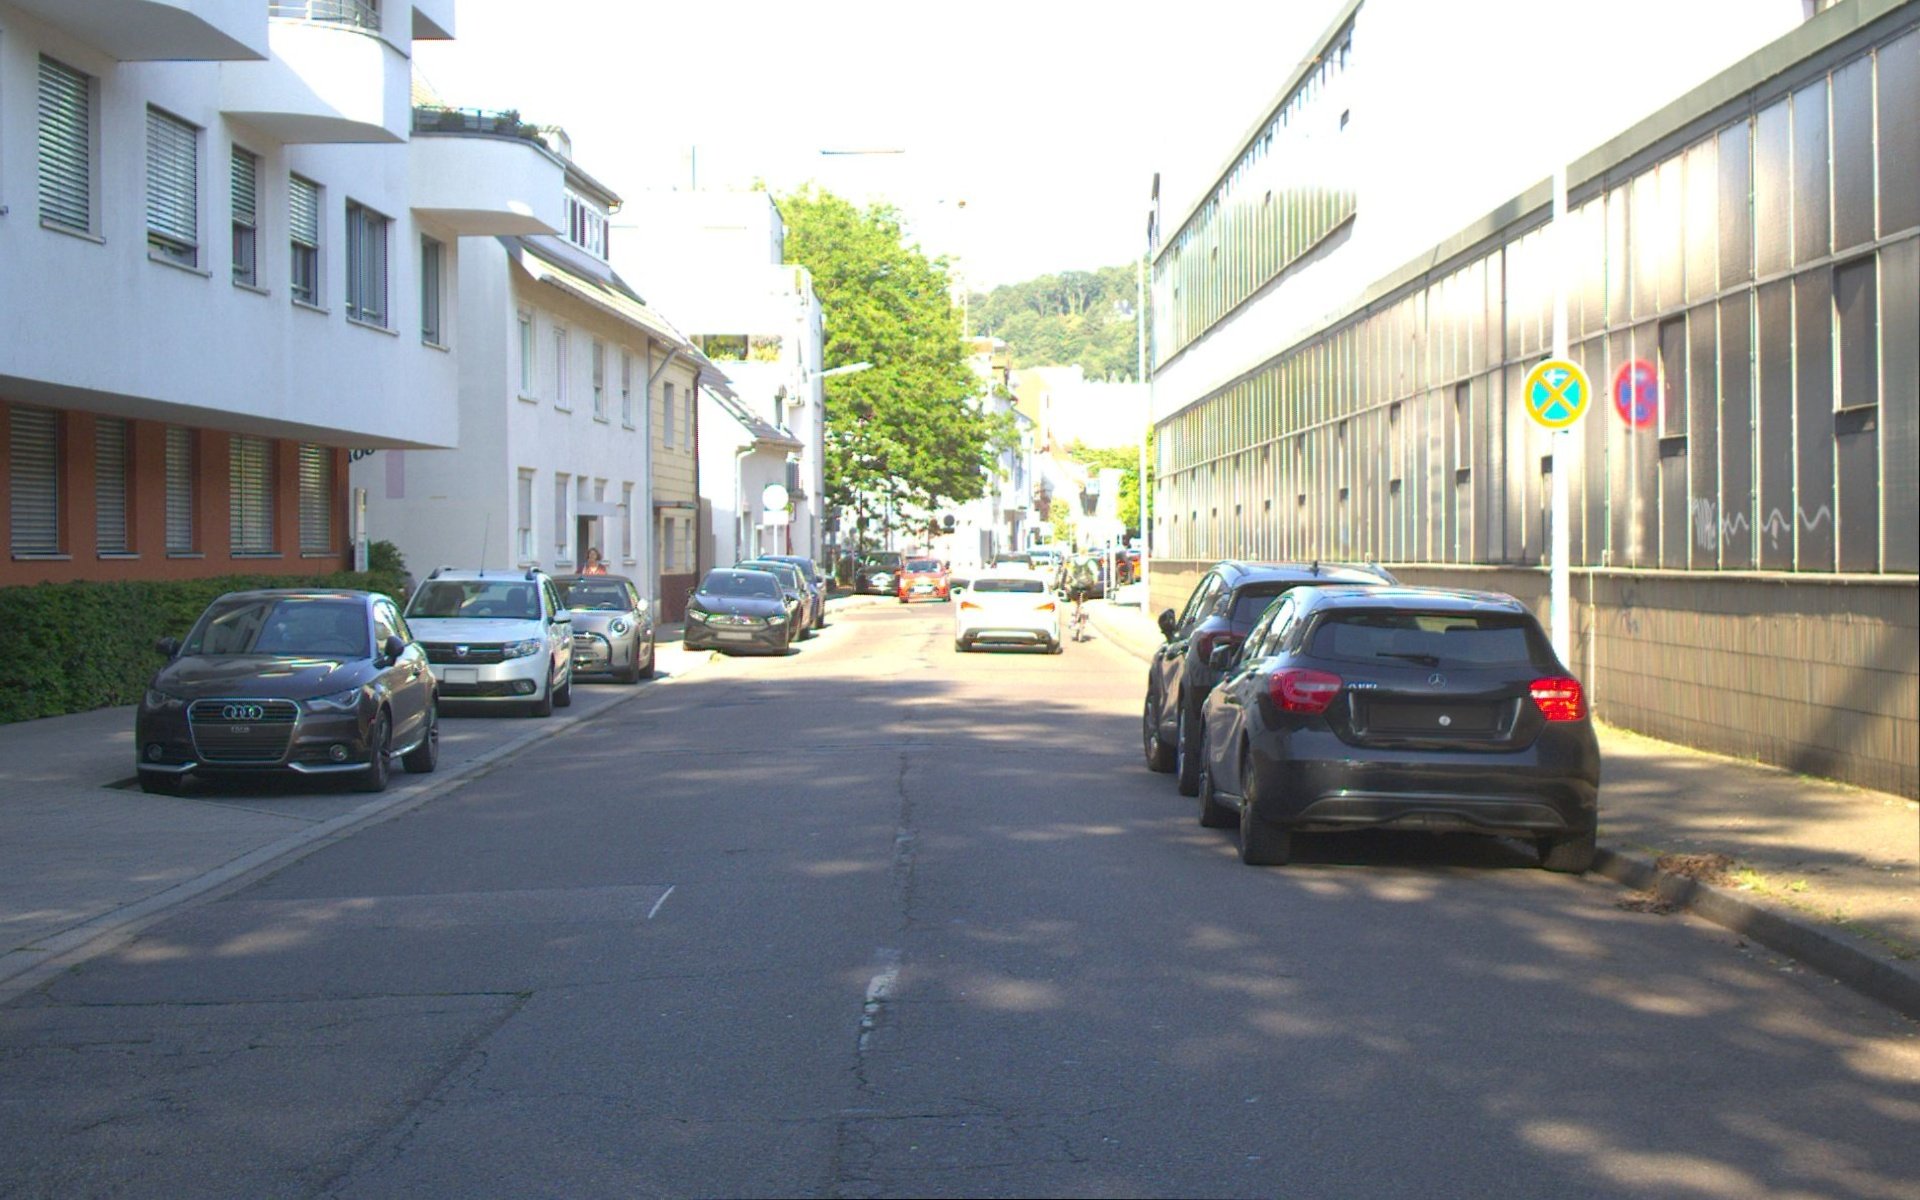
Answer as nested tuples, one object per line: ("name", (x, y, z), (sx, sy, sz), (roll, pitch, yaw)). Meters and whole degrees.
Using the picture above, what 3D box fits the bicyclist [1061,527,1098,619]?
("bicyclist", (2.350, -0.534, 67.610), (0.698, 1.784, 1.040), (1, 0, 2))

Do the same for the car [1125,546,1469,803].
("car", (2.274, 0.469, 24.311), (1.807, 1.581, 4.405), (2, 0, -2))

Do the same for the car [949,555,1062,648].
("car", (0.742, 0.015, 59.005), (1.842, 1.486, 4.144), (1, 0, 0))

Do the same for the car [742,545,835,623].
("car", (-3.891, -0.384, 78.543), (1.809, 1.581, 4.193), (2, 2, 0))

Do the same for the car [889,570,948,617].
("car", (-1.332, -0.221, 112.998), (1.842, 1.486, 4.144), (1, 0, 0))

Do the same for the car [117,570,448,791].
("car", (-4.863, 0.533, 25.143), (1.674, 1.428, 3.771), (2, 0, -1))

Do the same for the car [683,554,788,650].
("car", (-3.858, 0.014, 59.413), (1.684, 1.530, 4.335), (2, 0, -3))

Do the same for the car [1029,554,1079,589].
("car", (4.116, -1.240, 149.833), (1.842, 1.486, 4.143), (1, 0, 6))

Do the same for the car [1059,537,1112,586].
("car", (4.205, -1.280, 115.825), (1.629, 1.581, 4.069), (-2, 0, 0))

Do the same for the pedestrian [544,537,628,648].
("pedestrian", (-6.379, -0.129, 58.719), (0.862, 1.812, 1.130), (5, 1, 24))

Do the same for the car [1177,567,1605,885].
("car", (2.254, 0.607, 19.127), (1.750, 1.486, 4.621), (2, 0, 0))

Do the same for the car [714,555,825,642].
("car", (-3.841, -0.050, 69.834), (1.858, 1.581, 4.336), (2, 1, 1))

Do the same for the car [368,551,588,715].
("car", (-5.121, 0.325, 37.042), (1.857, 1.581, 4.622), (2, 0, -3))

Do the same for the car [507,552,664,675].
("car", (-5.014, 0.166, 46.439), (1.667, 1.530, 3.857), (2, 0, 0))

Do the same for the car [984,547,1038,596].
("car", (1.911, -1.087, 129.731), (1.853, 1.785, 4.608), (1, 1, -1))

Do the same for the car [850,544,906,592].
("car", (-3.150, -1.241, 133.193), (1.853, 1.785, 4.607), (1, 1, 2))

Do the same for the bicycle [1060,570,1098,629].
("bicycle", (2.338, -0.012, 67.537), (0.698, 1.126, 2.402), (1, 0, 2))
